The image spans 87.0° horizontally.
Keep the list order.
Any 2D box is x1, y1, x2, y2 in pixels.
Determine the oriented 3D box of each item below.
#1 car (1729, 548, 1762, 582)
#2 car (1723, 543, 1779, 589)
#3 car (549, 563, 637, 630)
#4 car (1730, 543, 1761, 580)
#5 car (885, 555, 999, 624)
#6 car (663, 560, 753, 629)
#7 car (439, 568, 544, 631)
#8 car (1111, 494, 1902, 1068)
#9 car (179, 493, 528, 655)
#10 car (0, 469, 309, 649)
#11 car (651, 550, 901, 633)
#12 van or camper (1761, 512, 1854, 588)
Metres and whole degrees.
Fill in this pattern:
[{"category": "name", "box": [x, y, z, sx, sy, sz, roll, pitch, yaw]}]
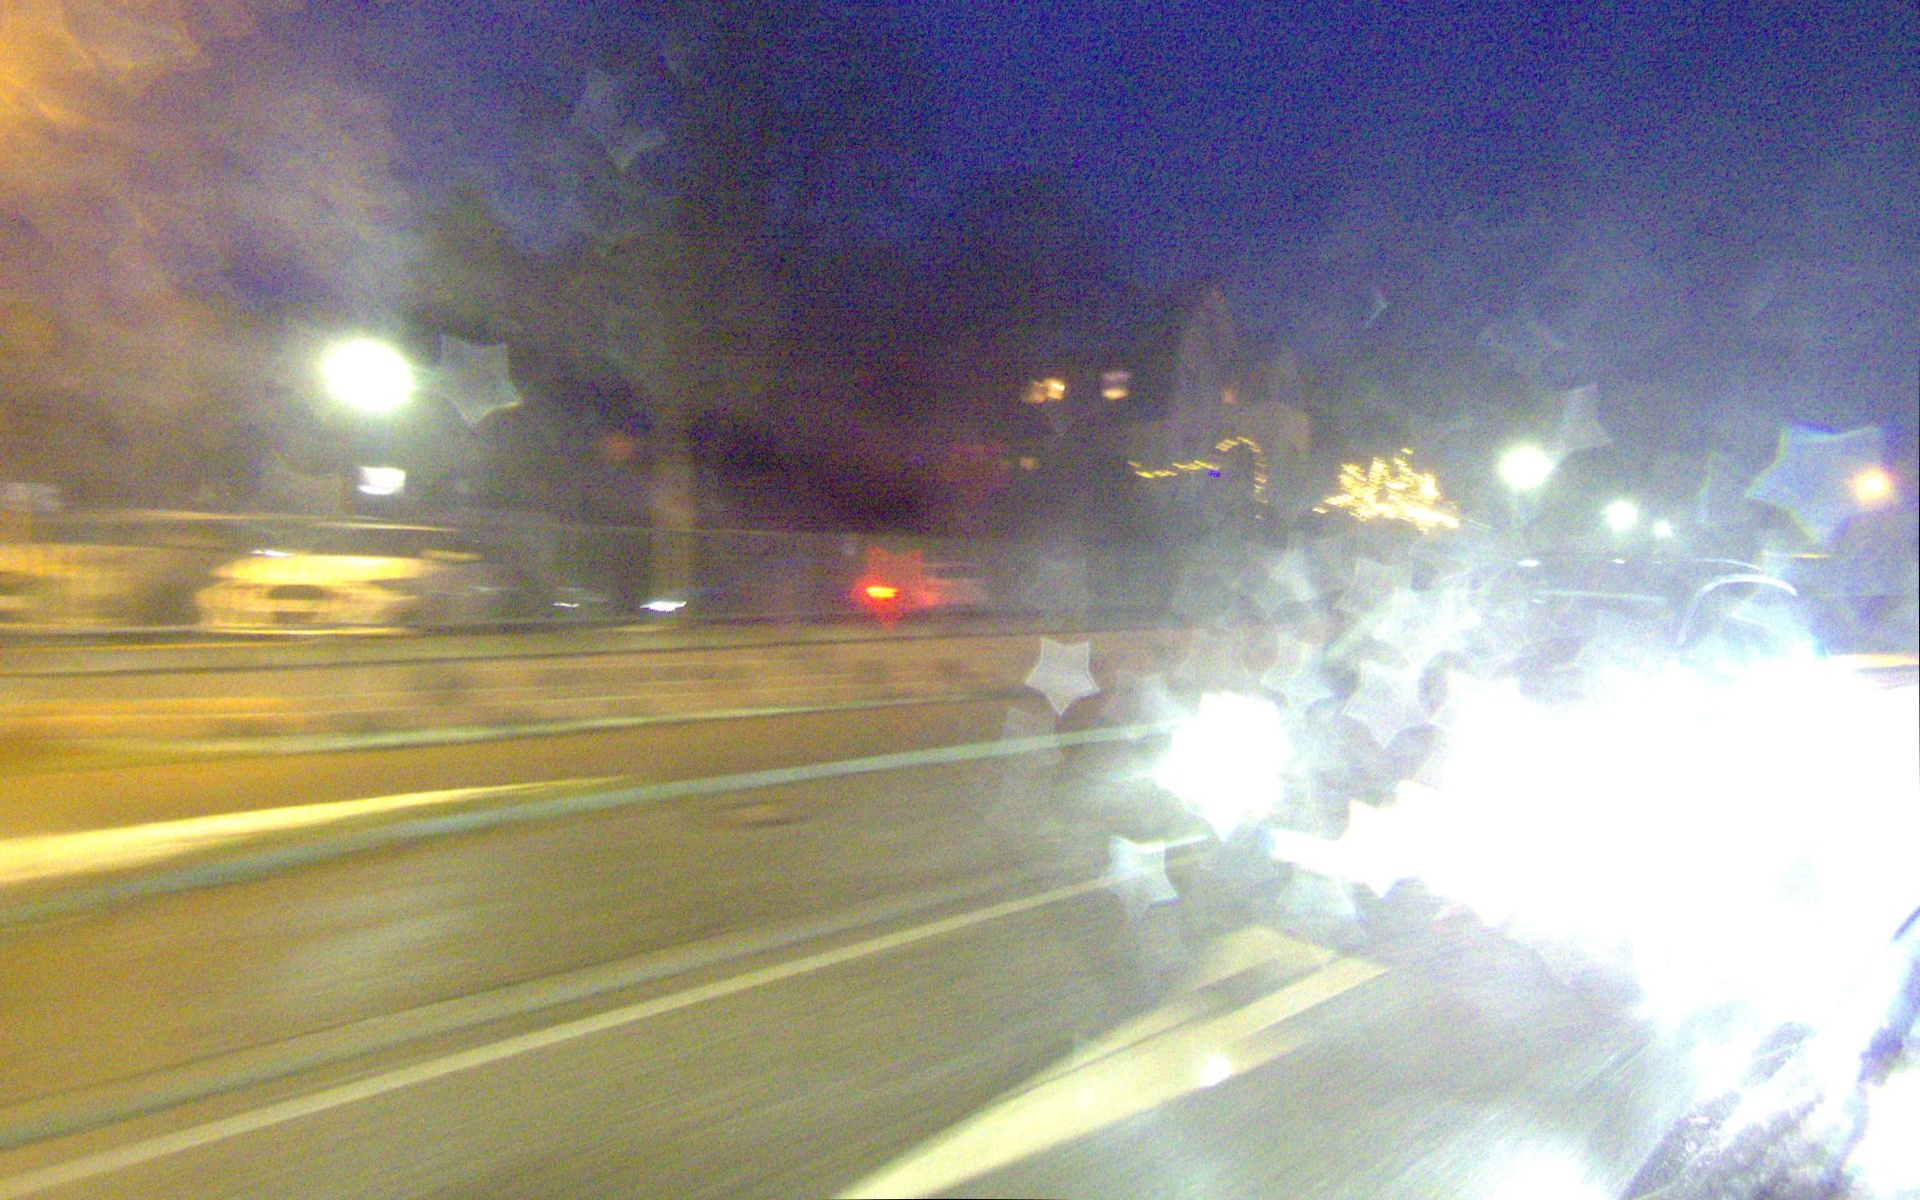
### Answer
[{"category": "car", "box": [59.935, -2.611, 77.264, 1.925, 2.451, 4.197, 0, 0, 37]}, {"category": "car", "box": [37.572, -1.573, 48.139, 1.989, 2.039, 3.946, 0, 0, 37]}, {"category": "car", "box": [-8.385, -0.082, 23.367, 1.692, 1.401, 4.008, 0, 0, -17]}, {"category": "car", "box": [63.233, -3.068, 81.517, 1.925, 2.810, 4.197, 0, 0, 37]}, {"category": "car", "box": [-0.533, -0.236, 24.307, 1.727, 1.506, 3.955, 0, 0, -17]}, {"category": "car", "box": [-5.703, -0.124, 23.290, 1.806, 1.448, 4.007, 0, 0, -11]}, {"category": "car", "box": [-10.553, -0.018, 23.044, 1.625, 1.300, 4.008, 0, 0, -17]}, {"category": "car", "box": [3.159, 0.537, 5.316, 4.850, 1.757, 1.839, 0, 0, -37]}, {"category": "car", "box": [-6.520, -0.251, 11.535, 1.814, 1.478, 4.347, 0, 0, -7]}, {"category": "car", "box": [-8.953, -0.367, 10.866, 1.796, 1.594, 3.893, 0, 0, -7]}, {"category": "car", "box": [-3.592, -0.168, 19.673, 4.607, 1.502, 1.730, 0, 0, -17]}, {"category": "van or camper", "box": [34.587, -1.931, 41.461, 2.399, 2.828, 5.700, 0, 0, 35]}]
